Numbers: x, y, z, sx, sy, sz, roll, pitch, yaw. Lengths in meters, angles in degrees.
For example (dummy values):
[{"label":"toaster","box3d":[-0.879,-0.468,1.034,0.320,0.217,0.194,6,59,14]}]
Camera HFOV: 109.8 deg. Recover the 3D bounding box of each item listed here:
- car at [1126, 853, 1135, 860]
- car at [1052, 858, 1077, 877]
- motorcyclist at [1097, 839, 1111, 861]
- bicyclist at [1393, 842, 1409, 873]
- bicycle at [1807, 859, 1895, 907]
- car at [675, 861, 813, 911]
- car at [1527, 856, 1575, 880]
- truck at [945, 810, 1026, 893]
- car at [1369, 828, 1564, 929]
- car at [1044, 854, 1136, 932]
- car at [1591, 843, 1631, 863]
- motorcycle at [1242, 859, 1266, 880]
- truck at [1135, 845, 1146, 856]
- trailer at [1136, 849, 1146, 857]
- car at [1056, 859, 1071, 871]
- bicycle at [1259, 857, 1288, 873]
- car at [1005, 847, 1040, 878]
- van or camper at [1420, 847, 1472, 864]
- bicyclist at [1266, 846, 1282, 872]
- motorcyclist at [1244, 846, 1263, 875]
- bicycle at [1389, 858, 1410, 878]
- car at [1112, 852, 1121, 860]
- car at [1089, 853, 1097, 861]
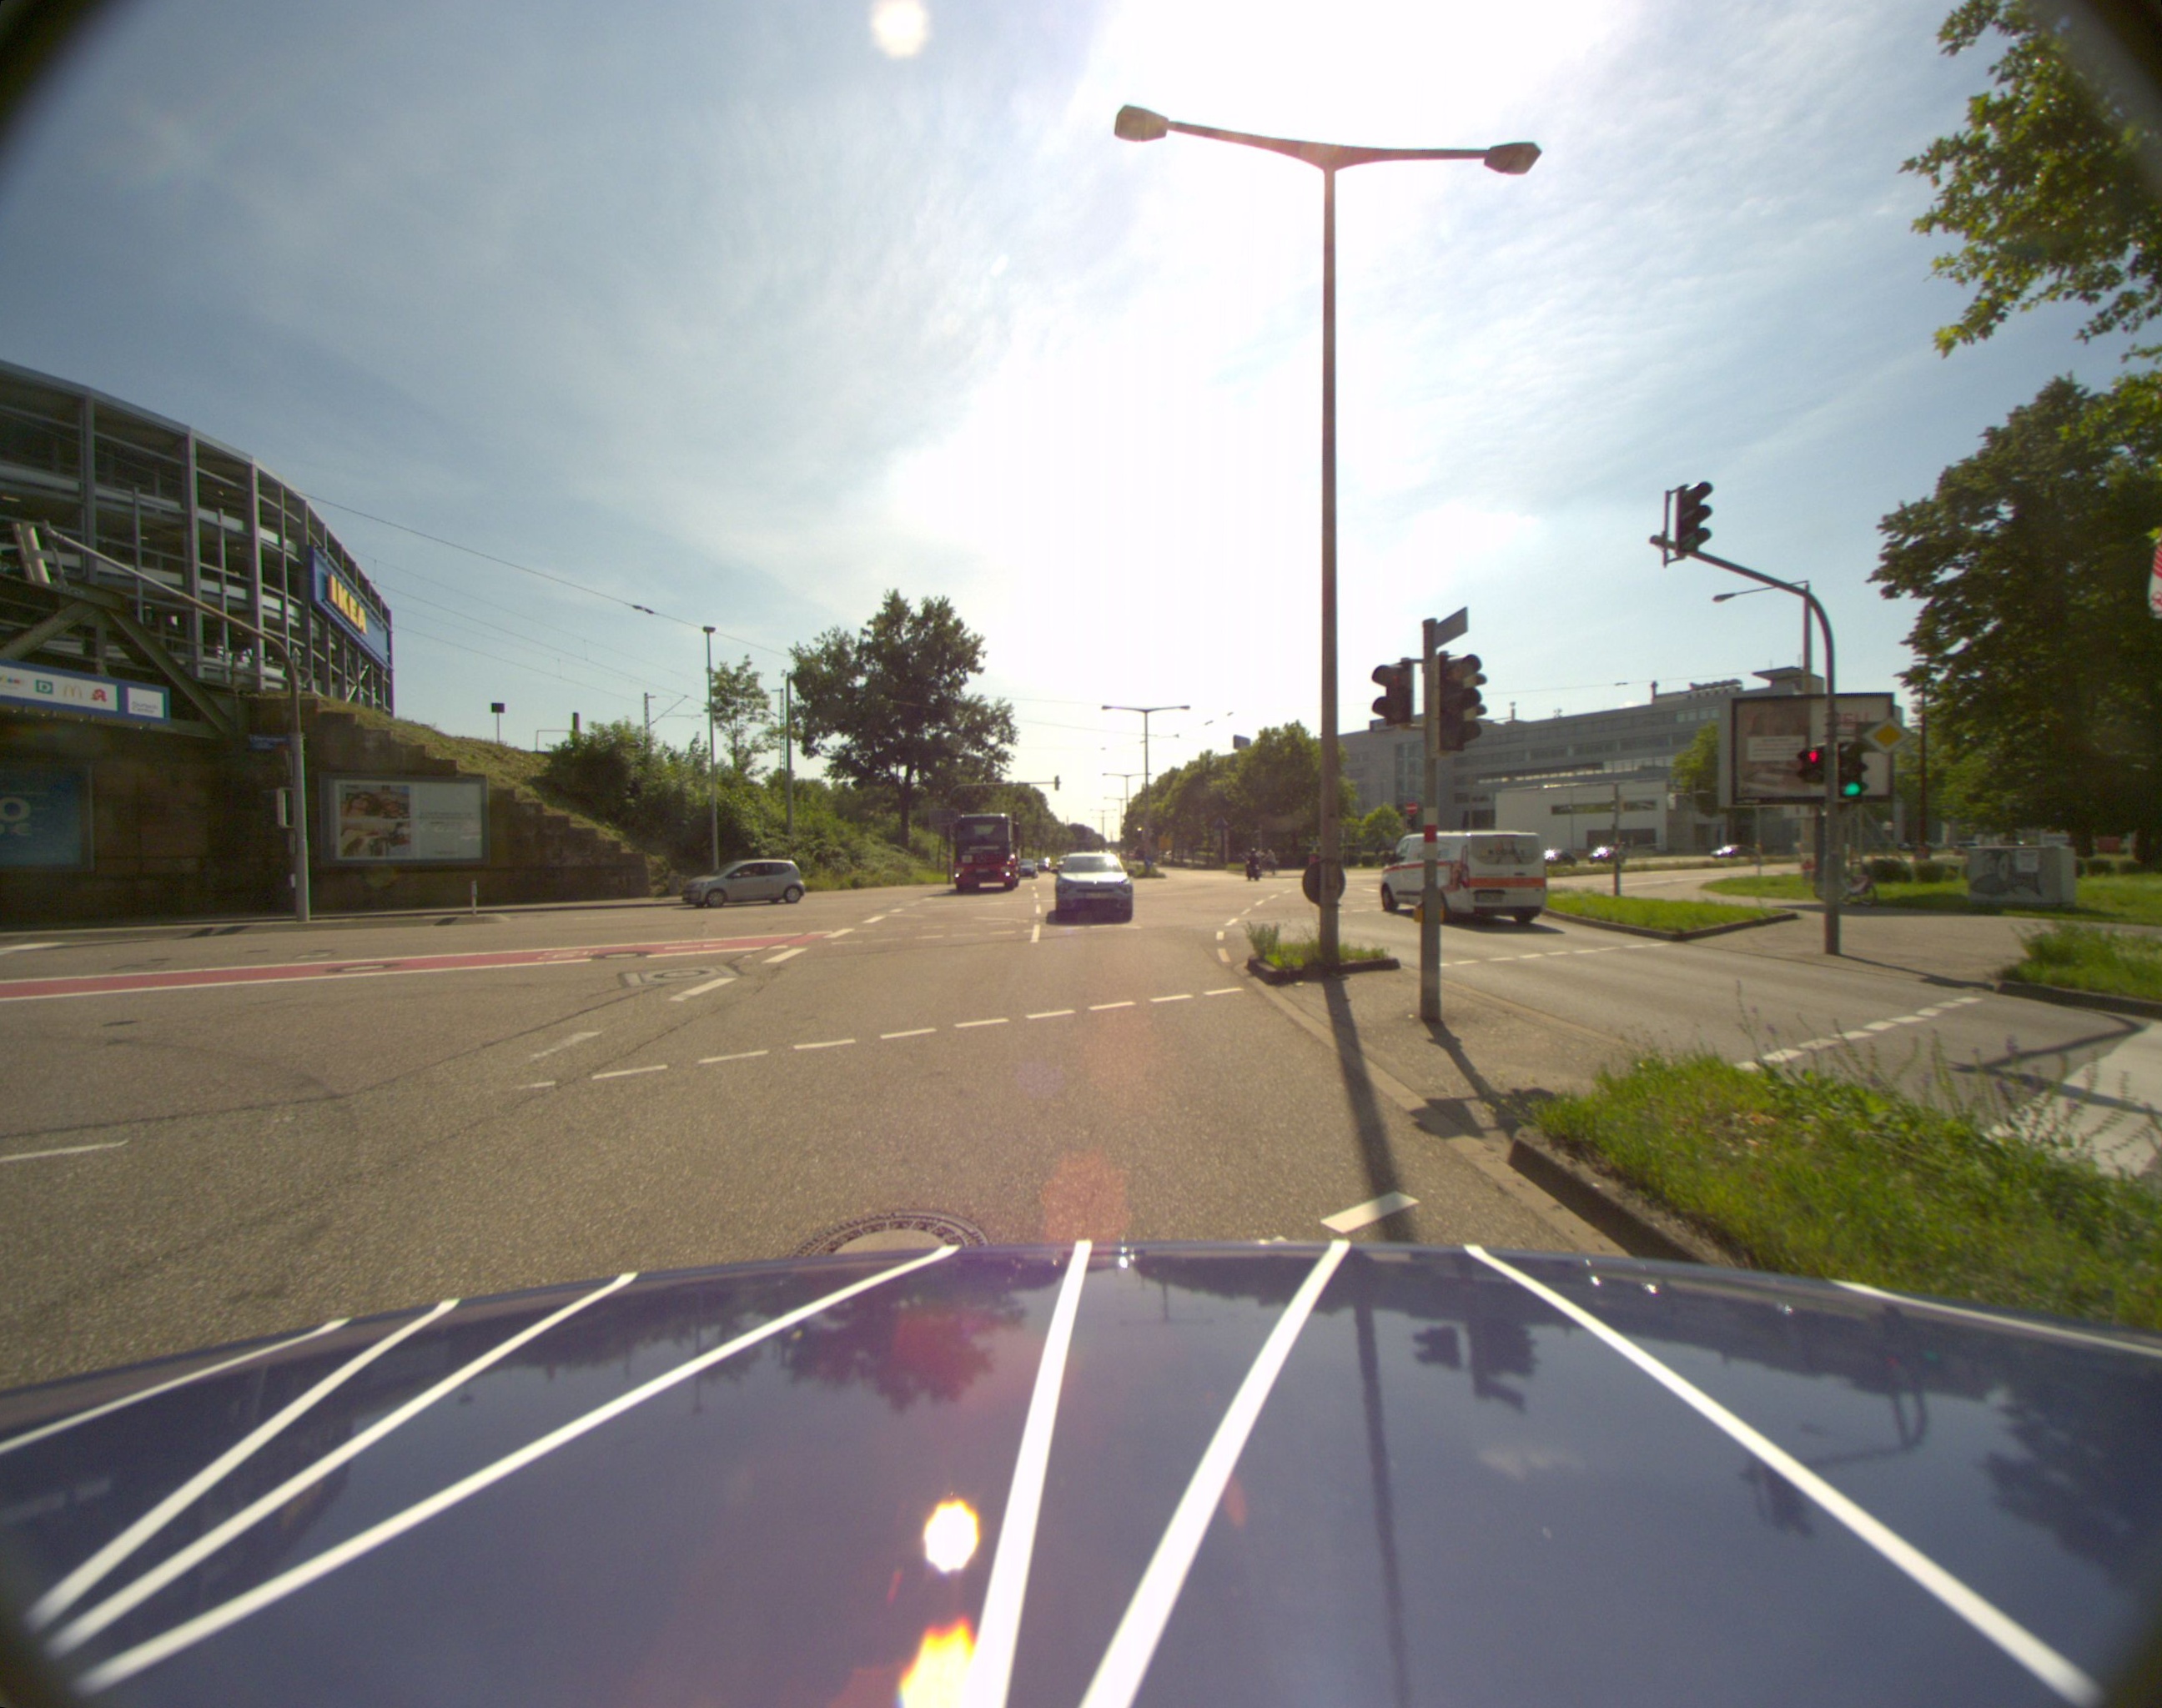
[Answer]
[{"label":"car","box3d":[10.263,0.526,156.412,1.653,1.505,3.736,-1,0,1]},{"label":"car","box3d":[-1.383,1.150,65.815,1.825,1.521,4.548,-1,0,2]},{"label":"motorcyclist","box3d":[1.770,-0.296,58.186,1.066,1.689,1.042,-1,1,0]},{"label":"bicyclist","box3d":[15.585,0.182,37.038,0.528,1.483,0.609,-1,1,6]},{"label":"bicycle","box3d":[18.211,0.663,18.026,0.595,1.031,1.897,-1,1,15]},{"label":"car","box3d":[-10.776,0.959,24.443,3.686,1.429,1.701,-1,1,-44]},{"label":"car","box3d":[36.482,1.069,58.959,4.008,1.689,1.994,-1,0,-40]},{"label":"truck","box3d":[-4.045,-0.101,33.838,2.776,3.248,7.481,-1,0,-1]},{"label":"car","box3d":[8.659,0.491,17.707,1.981,1.988,5.031,1,0,0]},{"label":"car","box3d":[0.282,0.792,17.726,1.825,1.521,4.752,-1,0,2]},{"label":"car","box3d":[47.679,-0.078,68.284,4.008,1.689,1.994,-1,0,-40]},{"label":"motorcycle","box3d":[8.760,0.781,38.541,0.689,0.985,2.217,-1,0,1]},{"label":"truck","box3d":[13.842,-0.707,175.629,2.144,2.461,7.132,-1,0,7]},{"label":"trailer","box3d":[13.404,-0.302,170.112,2.066,1.706,3.992,-1,0,7]},{"label":"car","box3d":[-2.436,1.485,106.032,1.825,1.521,4.548,-1,0,2]},{"label":"bicycle","box3d":[13.553,0.787,53.397,2.169,1.058,0.524,-1,1,-28]},{"label":"car","box3d":[-4.038,0.556,52.696,1.998,2.002,4.000,-1,0,1]},{"label":"van or camper","box3d":[38.483,0.200,80.234,2.004,1.682,4.500,-1,0,-37]},{"label":"bicyclist","box3d":[13.556,0.370,53.395,0.769,1.778,0.704,-1,1,-28]},{"label":"motorcyclist","box3d":[8.738,0.335,38.579,0.745,1.462,0.987,-1,1,1]},{"label":"bicycle","box3d":[15.615,0.673,37.326,0.417,0.932,1.998,-1,1,7]},{"label":"car","box3d":[8.847,0.551,189.745,1.998,2.002,4.000,-1,0,1]},{"label":"car","box3d":[3.161,0.815,194.543,1.998,2.002,4.000,-1,0,1]}]
